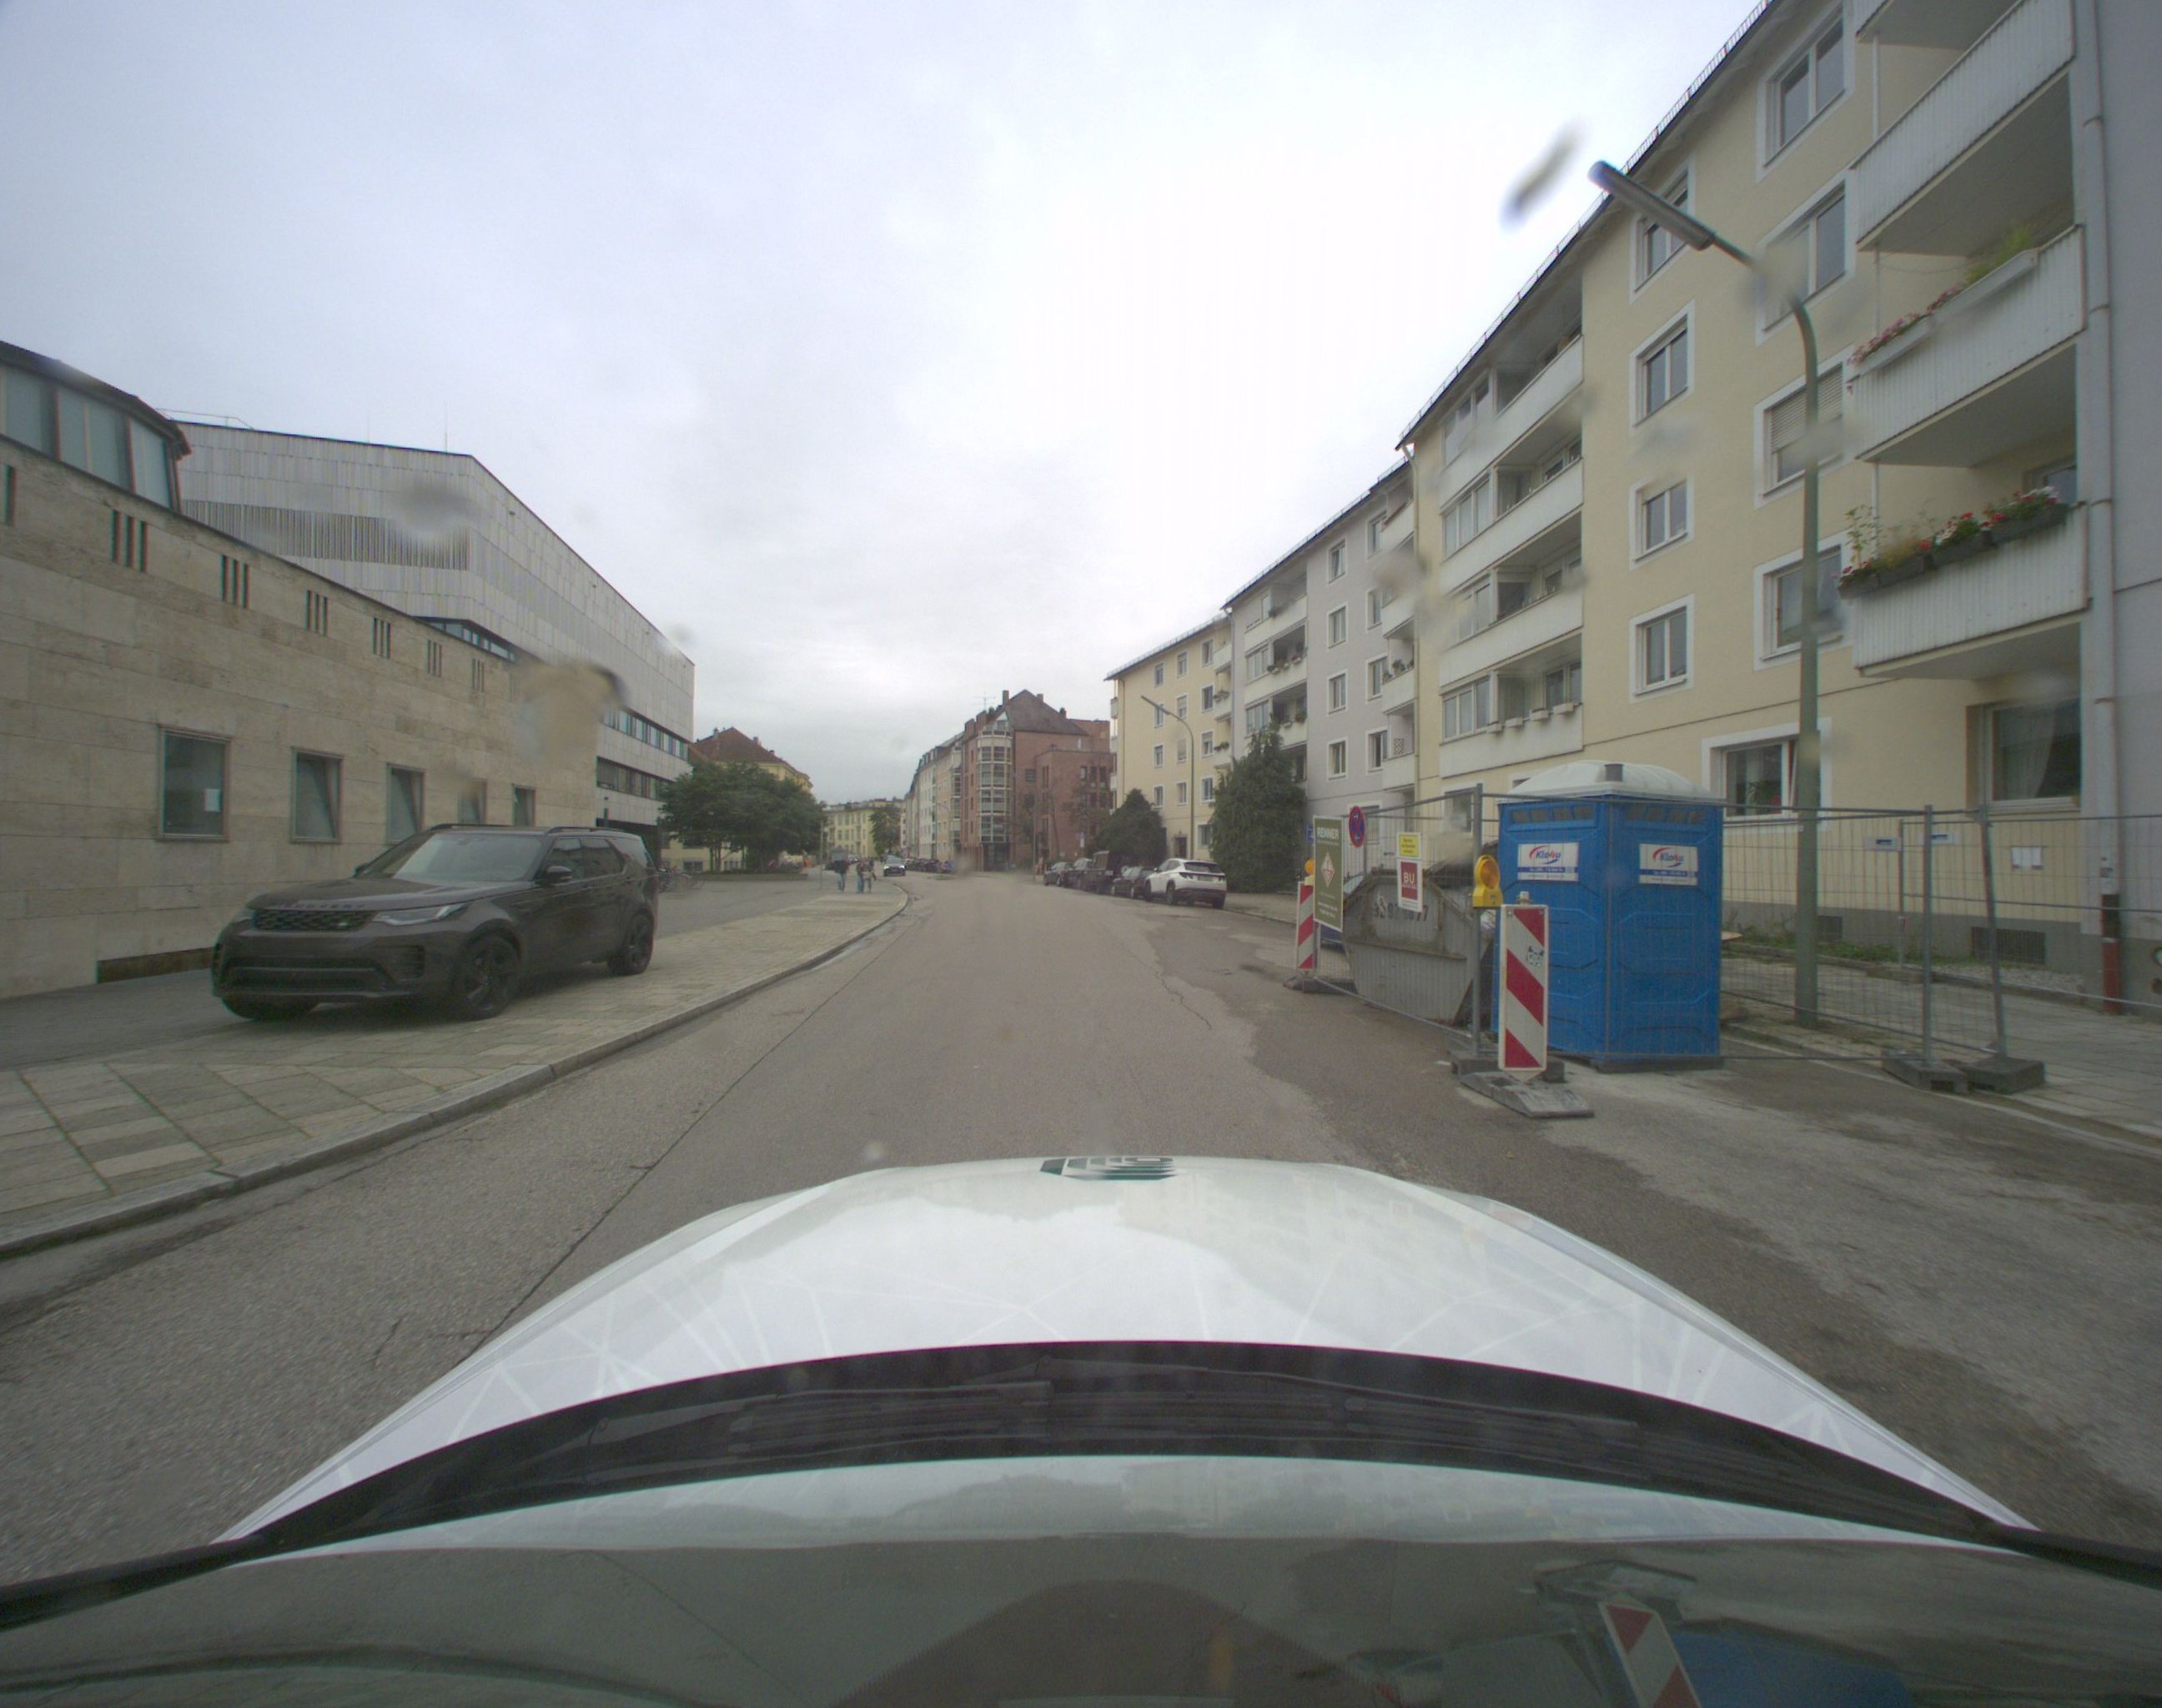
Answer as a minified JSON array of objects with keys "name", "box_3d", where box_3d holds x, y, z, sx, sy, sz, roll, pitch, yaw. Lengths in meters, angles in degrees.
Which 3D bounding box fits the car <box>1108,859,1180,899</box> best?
[{"name":"car","box_3d":[2.514,0.992,33.397,1.784,1.519,3.701,2,0,-15]}]

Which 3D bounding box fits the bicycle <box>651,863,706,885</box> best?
[{"name":"bicycle","box_3d":[-18.543,0.934,37.540,2.121,0.879,0.823,4,-2,-20]}]

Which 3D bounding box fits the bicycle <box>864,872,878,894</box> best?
[{"name":"bicycle","box_3d":[-9.590,1.307,37.213,0.388,0.969,1.710,1,0,-8]}]

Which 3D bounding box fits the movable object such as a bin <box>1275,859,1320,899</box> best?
[{"name":"movable object such as a bin","box_3d":[8.485,0.962,31.914,1.291,1.434,1.047,-4,0,-12]}]

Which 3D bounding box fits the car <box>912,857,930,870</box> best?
[{"name":"car","box_3d":[-19.006,1.171,96.841,1.637,1.483,3.588,1,0,-18]}]

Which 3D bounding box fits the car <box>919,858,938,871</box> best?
[{"name":"car","box_3d":[-17.281,1.158,92.052,1.637,1.483,3.588,1,0,-18]}]

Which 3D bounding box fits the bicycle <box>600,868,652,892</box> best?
[{"name":"bicycle","box_3d":[-17.674,1.010,31.688,1.651,0.797,0.525,5,-2,-21]}]

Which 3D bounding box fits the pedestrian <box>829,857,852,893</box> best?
[{"name":"pedestrian","box_3d":[-10.932,0.956,37.051,0.758,1.630,0.921,1,0,1]}]

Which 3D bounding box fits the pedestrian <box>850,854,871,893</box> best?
[{"name":"pedestrian","box_3d":[-10.040,0.877,37.084,0.734,1.768,0.919,1,0,-5]}]

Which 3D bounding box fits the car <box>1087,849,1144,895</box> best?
[{"name":"car","box_3d":[1.534,0.808,37.719,1.782,1.977,3.705,-1,0,-11]}]

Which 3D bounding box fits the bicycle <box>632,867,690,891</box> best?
[{"name":"bicycle","box_3d":[-17.818,1.064,34.600,2.036,0.886,0.671,4,-2,-20]}]

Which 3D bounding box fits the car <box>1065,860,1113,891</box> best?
[{"name":"car","box_3d":[0.366,1.112,43.045,1.782,1.510,3.705,1,-1,-11]}]

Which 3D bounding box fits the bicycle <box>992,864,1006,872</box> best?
[{"name":"bicycle","box_3d":[-9.090,1.508,90.262,1.105,0.854,1.715,1,0,-21]}]

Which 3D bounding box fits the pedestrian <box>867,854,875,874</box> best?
[{"name":"pedestrian","box_3d":[-15.806,0.754,61.343,0.461,1.460,0.441,1,-2,-8]}]

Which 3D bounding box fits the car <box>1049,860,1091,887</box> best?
[{"name":"car","box_3d":[-0.669,1.094,47.388,1.782,1.510,3.705,0,0,-11]}]

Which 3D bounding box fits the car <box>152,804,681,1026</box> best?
[{"name":"car","box_3d":[-6.444,0.520,8.918,2.049,1.736,4.876,1,-1,-5]}]

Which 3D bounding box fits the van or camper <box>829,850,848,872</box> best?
[{"name":"van or camper","box_3d":[-29.190,0.876,98.057,2.101,2.551,4.746,1,0,-15]}]

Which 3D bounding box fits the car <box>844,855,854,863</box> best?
[{"name":"car","box_3d":[-43.117,0.896,151.659,1.635,1.483,3.593,1,0,-14]}]

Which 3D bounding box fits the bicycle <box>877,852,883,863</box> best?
[{"name":"bicycle","box_3d":[-38.265,0.695,155.290,1.027,2.014,3.264,1,-5,-14]}]

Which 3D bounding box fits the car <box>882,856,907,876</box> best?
[{"name":"car","box_3d":[-17.238,1.094,75.140,1.997,1.835,4.145,1,0,-16]}]

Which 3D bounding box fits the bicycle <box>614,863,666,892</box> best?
[{"name":"bicycle","box_3d":[-17.805,0.945,32.930,1.732,1.033,0.524,5,-2,-21]}]

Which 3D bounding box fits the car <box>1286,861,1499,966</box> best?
[{"name":"car","box_3d":[4.979,0.870,13.724,1.777,1.438,4.276,1,0,-3]}]

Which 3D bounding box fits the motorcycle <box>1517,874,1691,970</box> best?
[{"name":"motorcycle","box_3d":[7.774,0.956,12.301,0.930,1.221,2.504,1,0,-3]}]

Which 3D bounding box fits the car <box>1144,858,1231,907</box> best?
[{"name":"car","box_3d":[3.625,0.942,28.474,1.831,1.574,3.985,1,0,-11]}]

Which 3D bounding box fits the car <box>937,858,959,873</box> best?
[{"name":"car","box_3d":[-13.436,1.125,82.257,1.637,1.483,3.588,1,0,-18]}]
